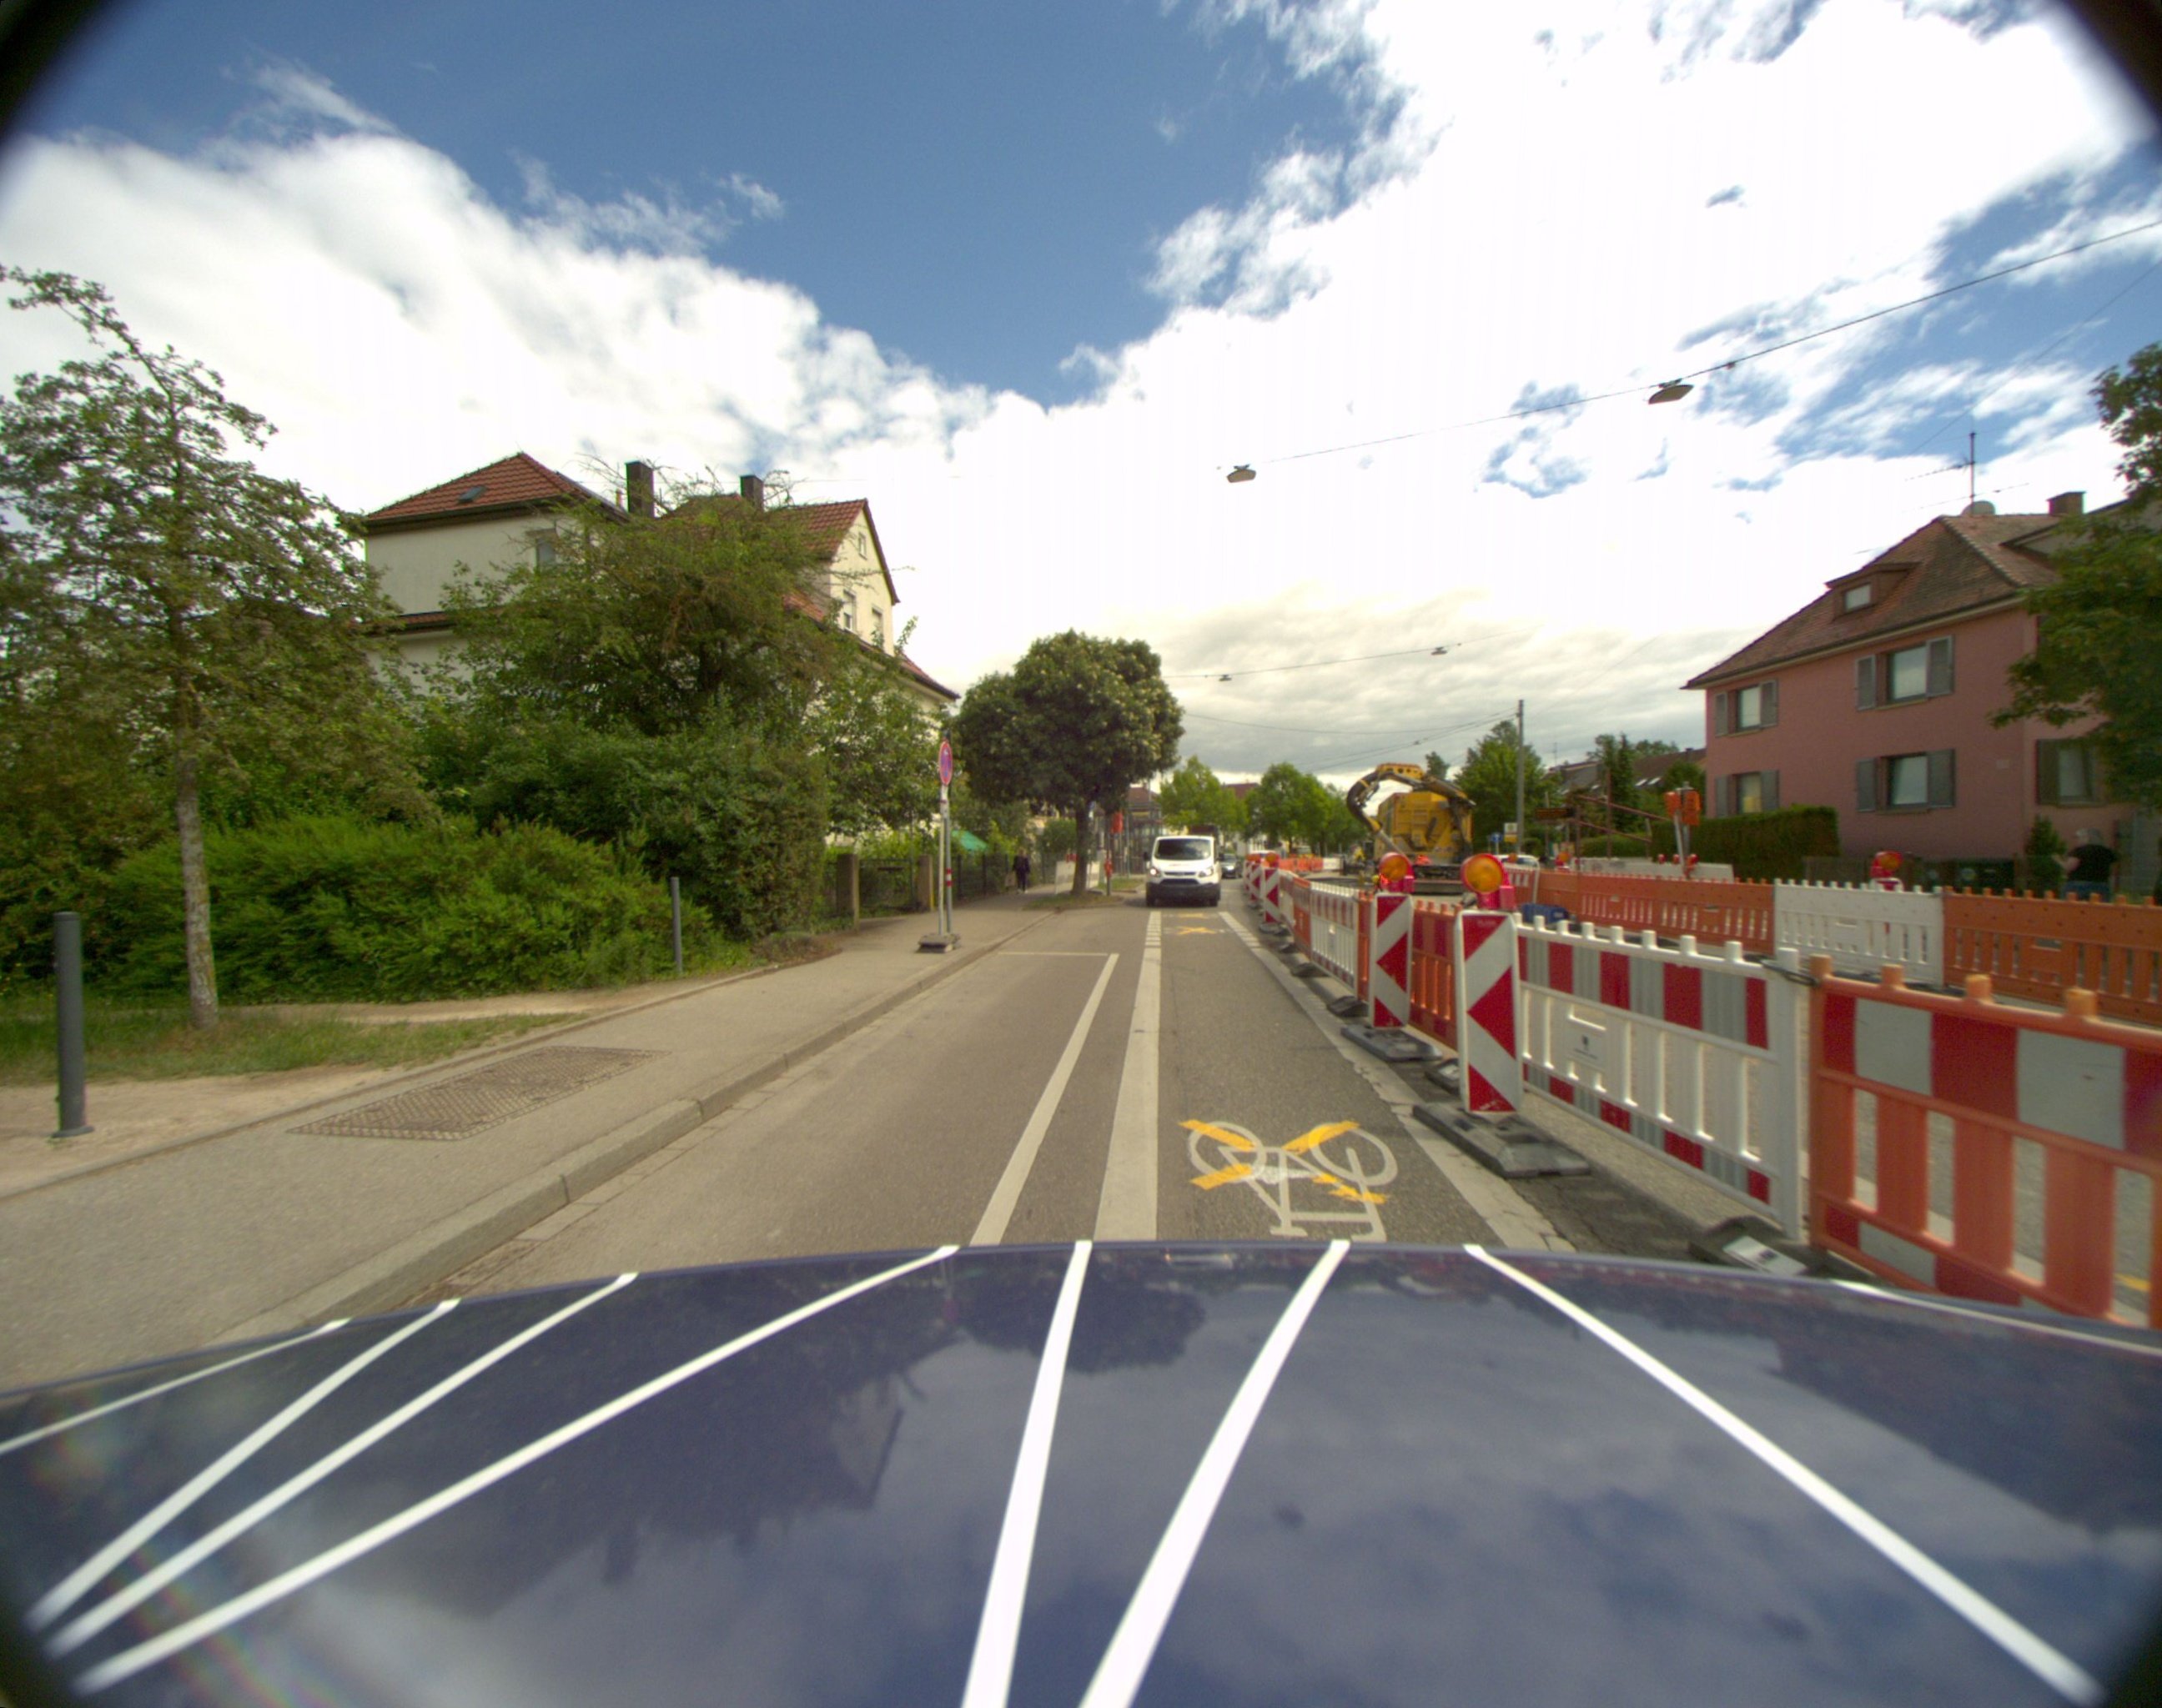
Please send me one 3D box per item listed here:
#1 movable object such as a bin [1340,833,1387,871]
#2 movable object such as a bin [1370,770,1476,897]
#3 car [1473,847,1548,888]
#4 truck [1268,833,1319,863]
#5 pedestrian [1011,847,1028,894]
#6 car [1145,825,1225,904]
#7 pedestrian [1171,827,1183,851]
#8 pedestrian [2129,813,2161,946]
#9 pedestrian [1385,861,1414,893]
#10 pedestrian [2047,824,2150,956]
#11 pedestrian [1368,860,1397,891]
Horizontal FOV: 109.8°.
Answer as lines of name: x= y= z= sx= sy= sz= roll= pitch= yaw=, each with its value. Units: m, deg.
movable object such as a bin: x=20.665 y=-0.162 z=55.447 sx=1.994 sy=2.610 sz=6.535 roll=1 pitch=1 yaw=31
movable object such as a bin: x=13.446 y=-0.725 z=30.770 sx=2.594 sy=4.197 sz=11.134 roll=0 pitch=1 yaw=17
car: x=16.489 y=0.481 z=29.359 sx=1.856 sy=1.444 sz=4.005 roll=-1 pitch=1 yaw=20
truck: x=26.105 y=-0.674 z=93.647 sx=2.345 sy=3.178 sz=6.623 roll=0 pitch=-3 yaw=-22
pedestrian: x=-2.047 y=0.548 z=25.284 sx=0.522 sy=1.531 sz=0.636 roll=0 pitch=1 yaw=-3
car: x=3.022 y=0.244 z=22.535 sx=1.997 sy=2.002 sz=5.515 roll=-2 pitch=1 yaw=6
pedestrian: x=6.453 y=-0.992 z=51.088 sx=0.598 sy=1.573 sz=0.402 roll=-6 pitch=1 yaw=22
pedestrian: x=15.345 y=0.350 z=10.604 sx=0.625 sy=1.836 sz=0.624 roll=0 pitch=1 yaw=32
pedestrian: x=10.177 y=0.731 z=24.253 sx=0.641 sy=0.985 sz=0.795 roll=1 pitch=1 yaw=41
pedestrian: x=14.669 y=0.498 z=10.980 sx=0.695 sy=1.836 sz=0.624 roll=0 pitch=1 yaw=32
pedestrian: x=10.109 y=0.708 z=25.460 sx=0.791 sy=0.985 sz=0.813 roll=0 pitch=1 yaw=31
